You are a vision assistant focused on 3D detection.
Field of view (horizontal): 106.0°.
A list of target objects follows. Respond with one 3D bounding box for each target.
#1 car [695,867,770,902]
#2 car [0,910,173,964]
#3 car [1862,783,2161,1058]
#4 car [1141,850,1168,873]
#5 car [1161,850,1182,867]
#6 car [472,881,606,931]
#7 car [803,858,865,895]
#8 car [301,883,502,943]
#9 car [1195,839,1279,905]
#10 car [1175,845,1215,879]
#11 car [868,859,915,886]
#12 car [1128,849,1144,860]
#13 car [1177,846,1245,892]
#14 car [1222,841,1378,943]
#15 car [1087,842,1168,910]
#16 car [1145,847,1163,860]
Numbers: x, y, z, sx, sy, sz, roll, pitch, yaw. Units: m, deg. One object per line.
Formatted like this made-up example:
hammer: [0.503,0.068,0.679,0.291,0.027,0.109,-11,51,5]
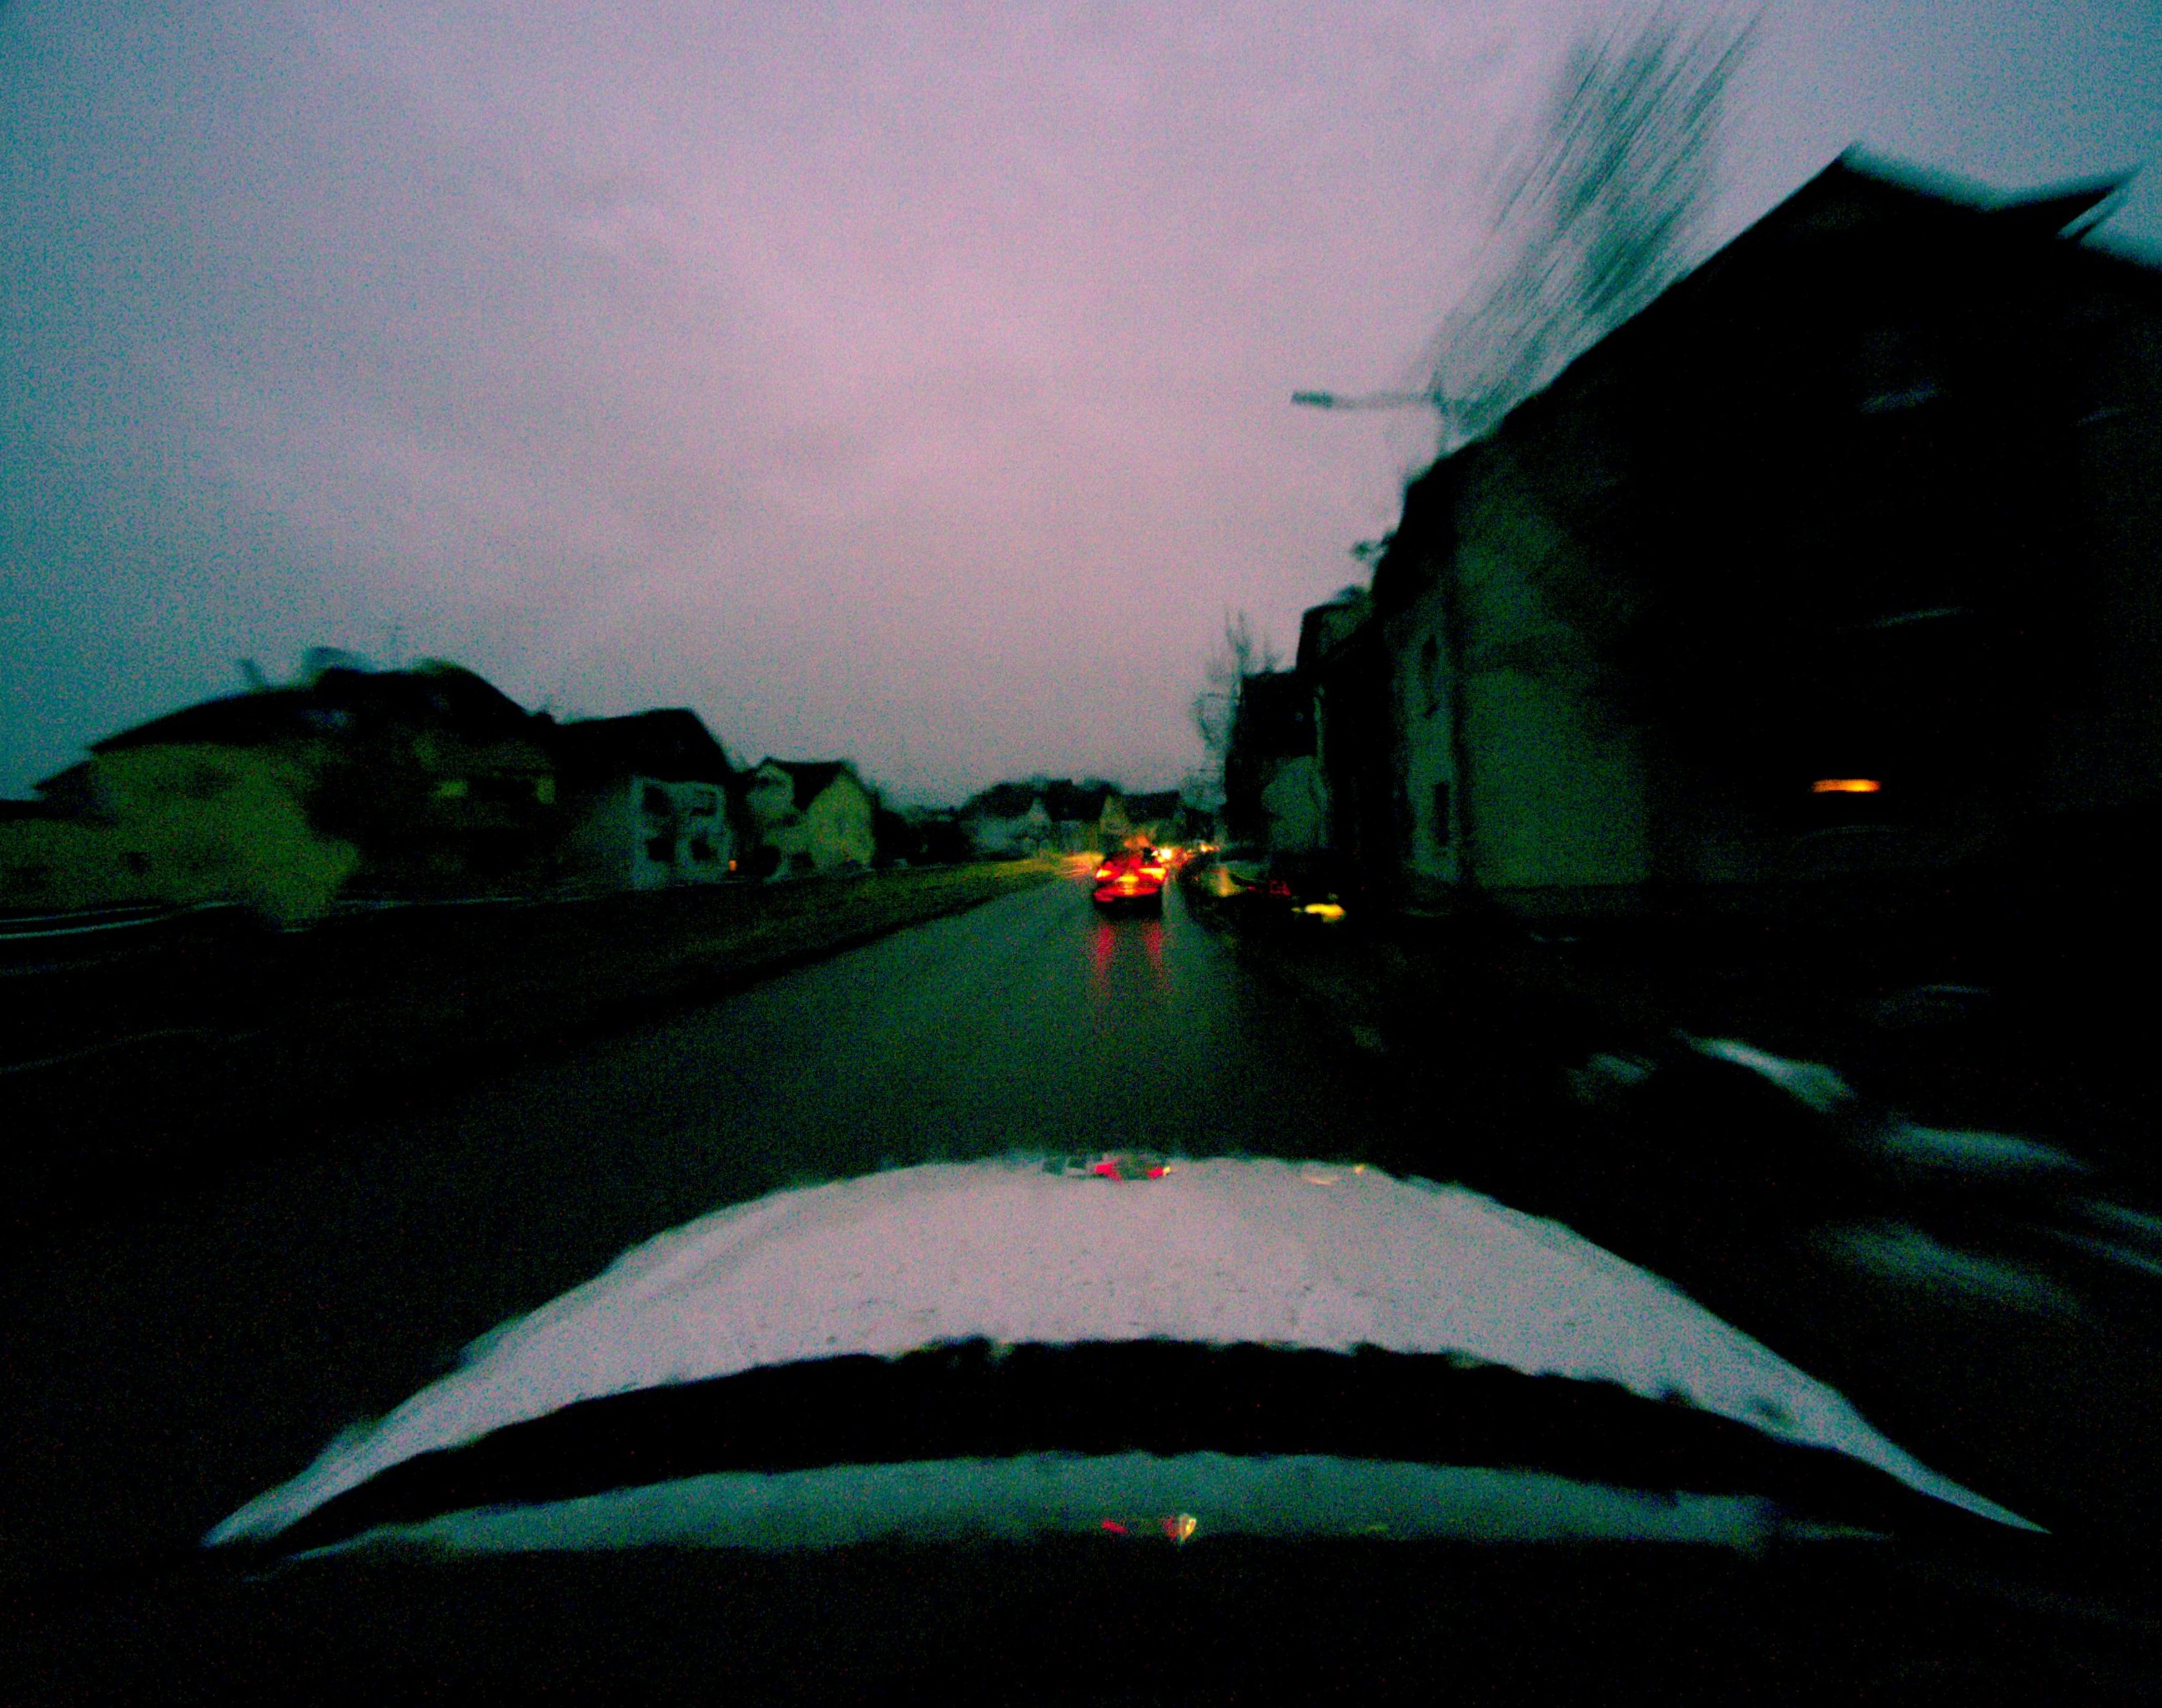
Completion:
car: [-18.719,1.624,43.926,1.847,1.681,4.010,-1,0,9]
car: [-31.208,2.572,25.489,3.959,1.444,2.007,-2,0,13]
car: [7.010,0.319,4.079,1.805,1.552,4.296,-4,0,-6]
car: [4.871,0.468,53.812,1.674,1.453,4.007,-1,0,6]
car: [8.315,0.401,74.909,1.805,1.412,4.008,-2,1,6]
car: [-20.507,1.927,31.059,1.865,1.505,4.154,-2,0,9]
car: [-13.354,1.185,44.331,1.791,1.803,3.867,-3,0,5]
car: [-21.053,1.772,25.549,1.865,1.442,4.661,-2,0,10]
car: [4.263,0.443,22.818,1.657,1.575,4.501,-3,0,3]
car: [5.603,0.347,40.340,1.644,1.455,4.245,-5,0,6]
car: [-15.234,1.479,65.630,1.862,1.778,4.515,-5,1,10]
car: [8.492,0.072,125.786,1.818,1.613,4.051,-1,0,-4]
car: [4.619,0.481,29.681,1.948,1.532,5.014,-1,0,3]
car: [3.731,0.572,14.634,1.696,1.451,4.193,-4,0,1]
car: [1.191,0.521,22.536,1.958,1.594,4.314,-2,1,0]
car: [11.184,-0.111,124.841,2.033,1.925,4.051,-1,0,-4]
